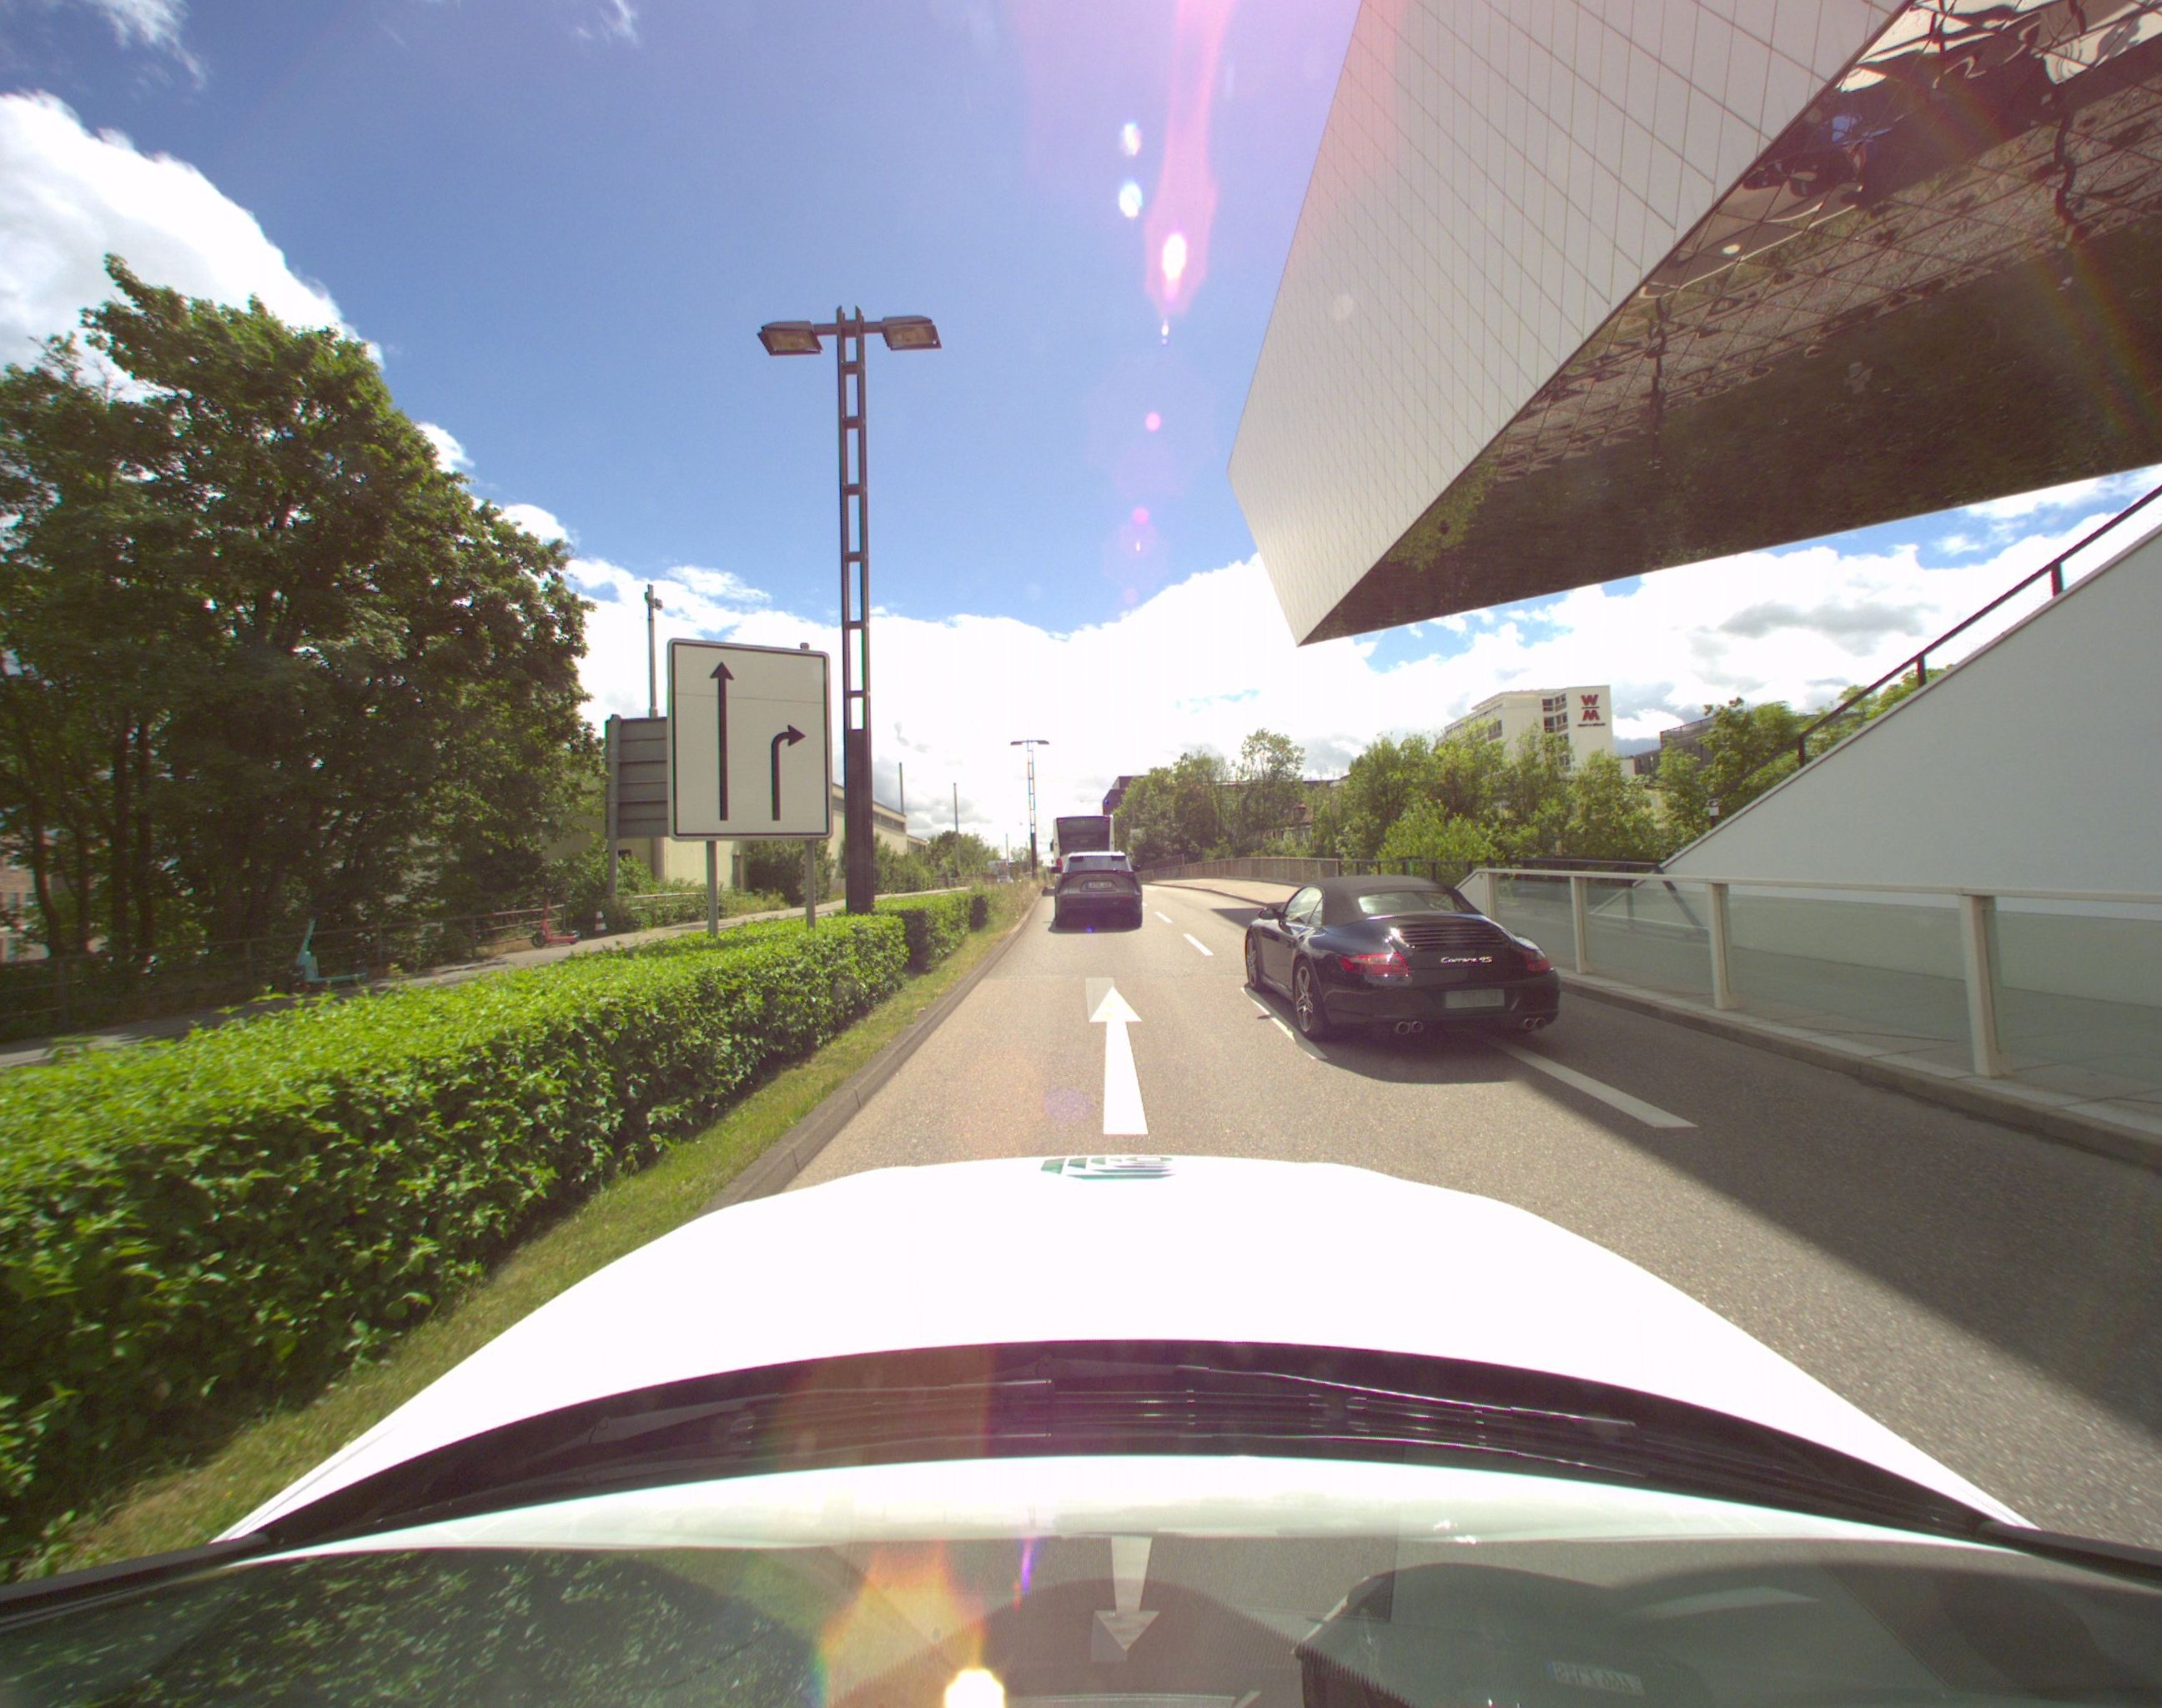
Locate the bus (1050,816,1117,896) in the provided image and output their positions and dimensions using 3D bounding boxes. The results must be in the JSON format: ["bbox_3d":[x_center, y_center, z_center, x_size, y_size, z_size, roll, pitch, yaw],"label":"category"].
[{"bbox_3d":[0.164,-0.001,39.118,2.680,3.255,12.058,-1,1,1],"label":"bus"}]

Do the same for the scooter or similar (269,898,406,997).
[{"bbox_3d":[-11.213,1.365,12.356,0.489,1.304,1.645,-1,0,4],"label":"scooter or similar"}]

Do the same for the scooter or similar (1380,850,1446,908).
[{"bbox_3d":[7.545,0.555,18.595,0.651,1.214,1.856,-3,-1,-1],"label":"scooter or similar"}]

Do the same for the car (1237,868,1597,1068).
[{"bbox_3d":[2.684,0.810,7.603,1.714,1.275,4.088,-1,0,1],"label":"car"}]

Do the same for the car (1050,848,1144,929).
[{"bbox_3d":[0.338,0.703,18.501,1.873,1.594,4.229,-1,0,0],"label":"car"}]

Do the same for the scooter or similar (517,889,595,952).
[{"bbox_3d":[-11.359,1.416,17.686,0.489,1.216,1.645,-3,0,4],"label":"scooter or similar"}]

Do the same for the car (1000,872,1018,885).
[{"bbox_3d":[-8.390,2.868,94.975,1.749,1.276,3.997,-5,-1,-1],"label":"car"}]
